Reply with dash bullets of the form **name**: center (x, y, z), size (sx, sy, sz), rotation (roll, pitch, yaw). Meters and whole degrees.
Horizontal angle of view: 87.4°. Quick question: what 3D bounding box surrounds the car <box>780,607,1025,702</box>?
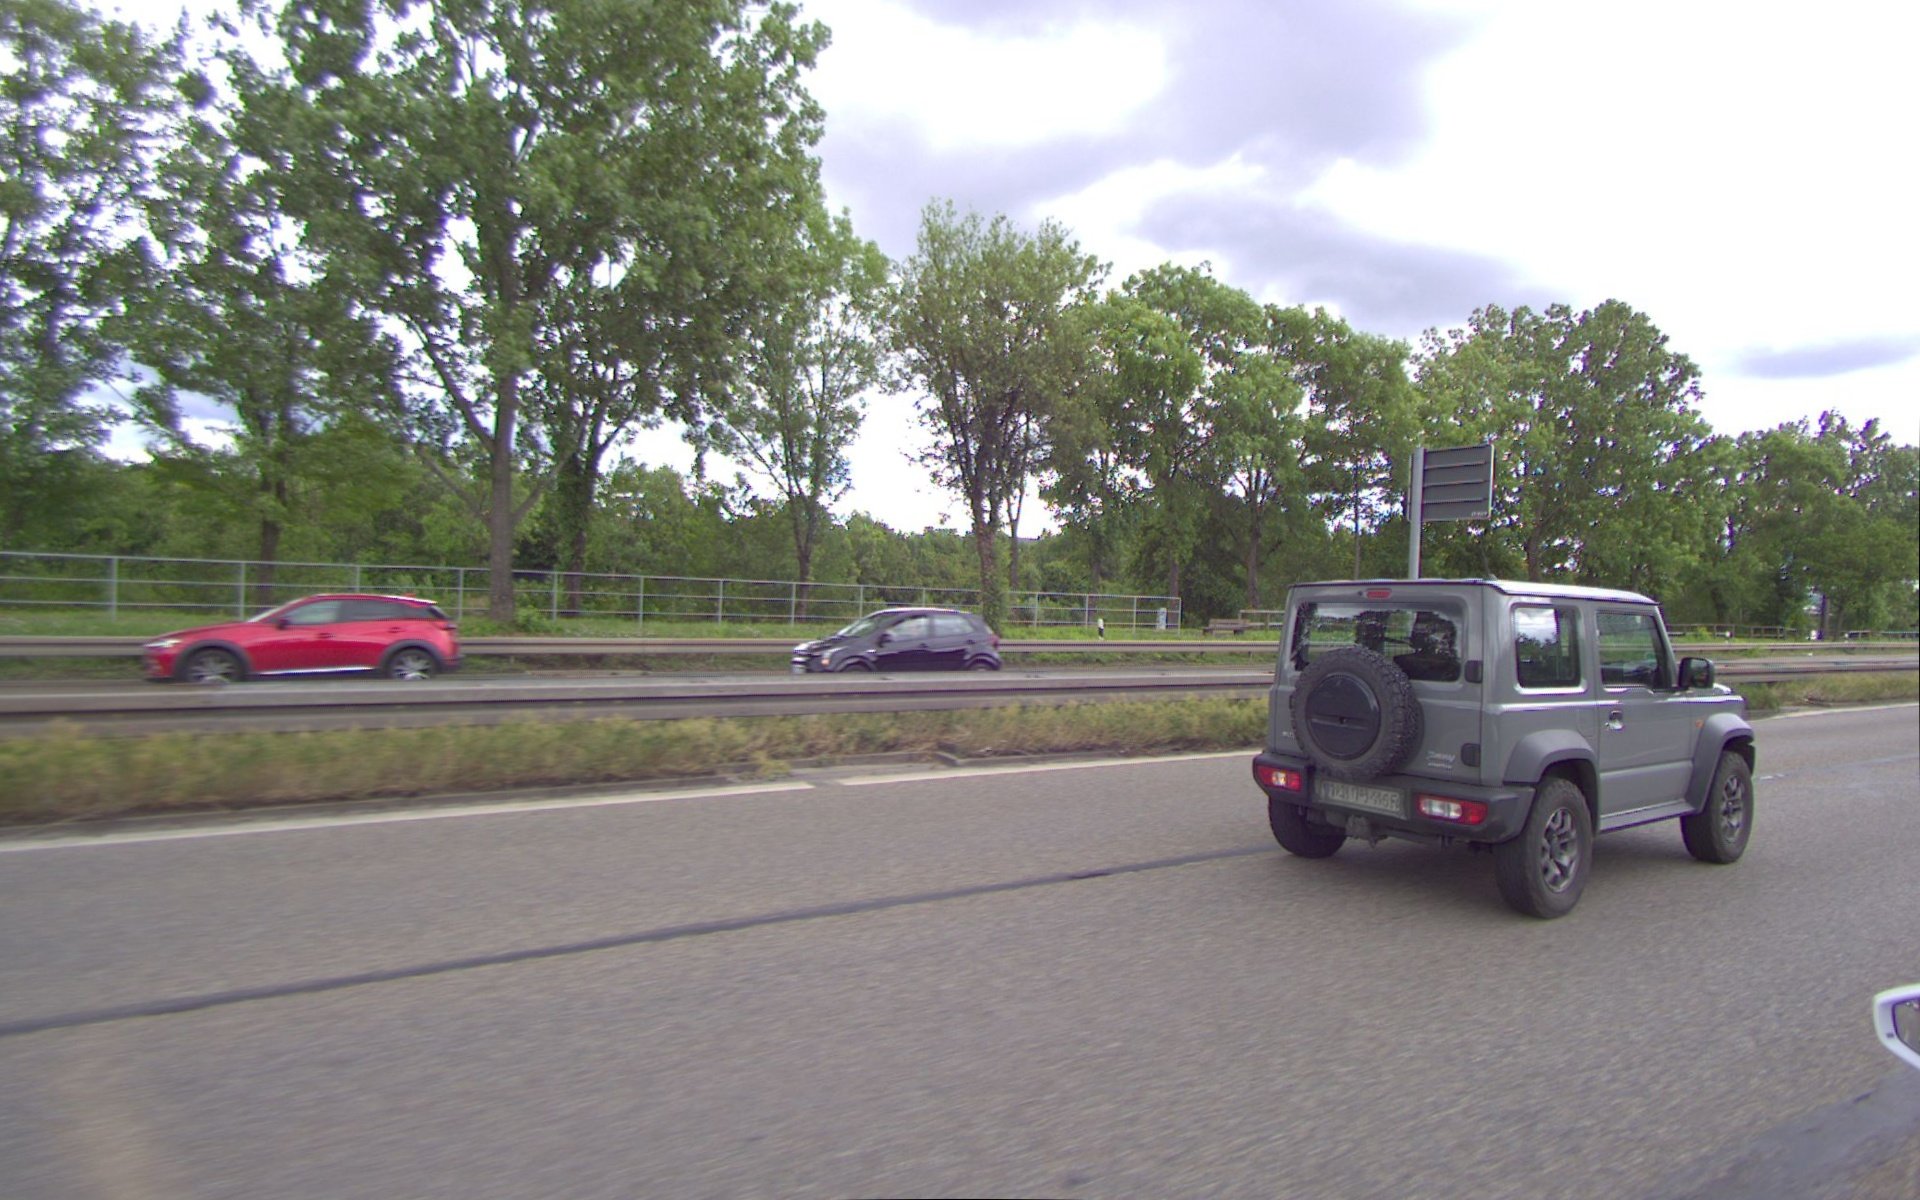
- **car**: center (-0.954, 0.902, 17.231), size (3.866, 1.443, 1.652), rotation (2, 0, -31)

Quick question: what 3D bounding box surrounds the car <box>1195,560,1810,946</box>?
- **car**: center (3.491, 0.719, 6.251), size (3.957, 1.708, 1.688), rotation (2, 0, -33)

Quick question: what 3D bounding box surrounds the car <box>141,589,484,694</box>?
- **car**: center (-10.020, 0.634, 15.920), size (4.330, 1.484, 1.709), rotation (2, 0, -31)
